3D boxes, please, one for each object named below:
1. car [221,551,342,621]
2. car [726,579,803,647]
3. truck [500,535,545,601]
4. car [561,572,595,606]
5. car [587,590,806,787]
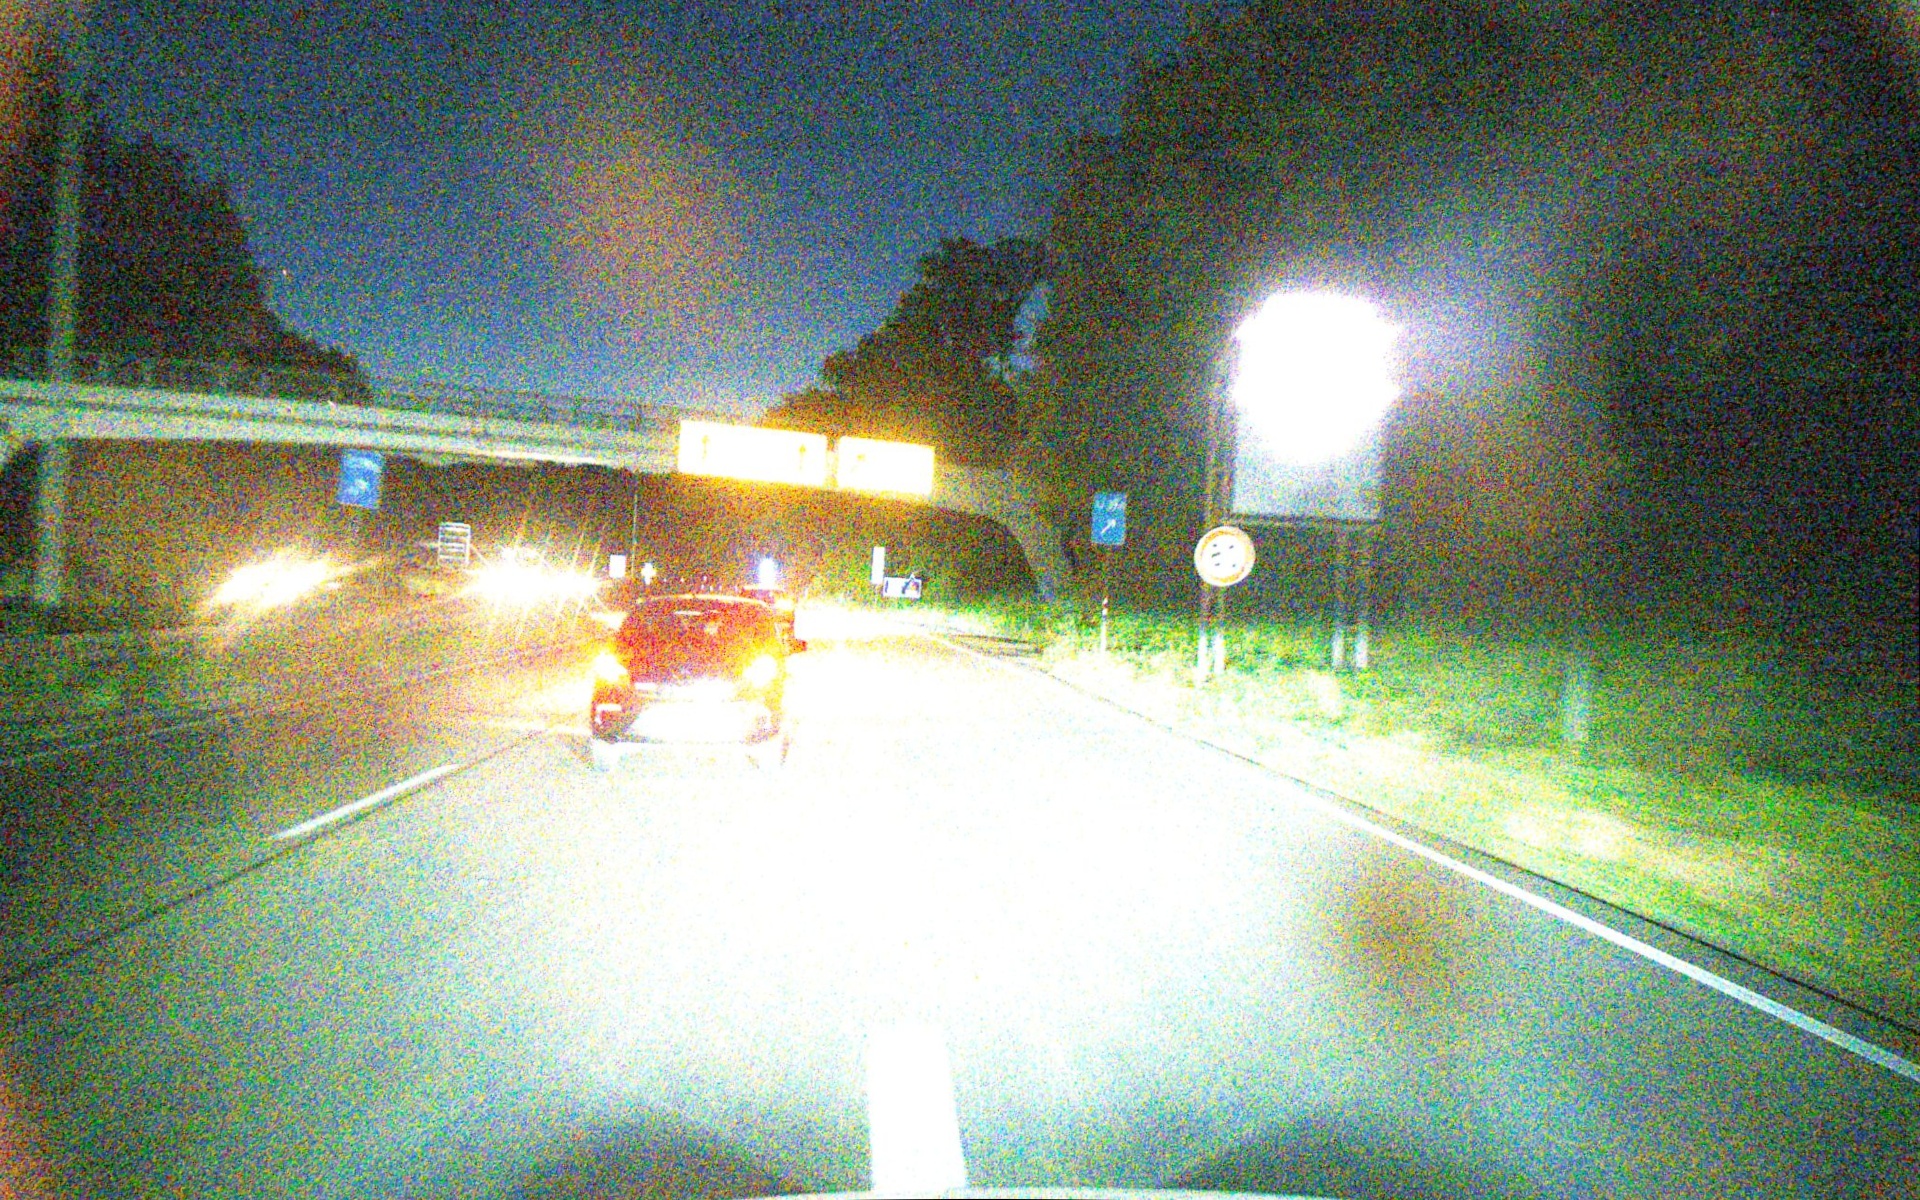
[{"bbox_3d":[-21.749,-0.430,53.259,2.318,2.049,5.023,3,0,-8],"label":"car"},{"bbox_3d":[-5.567,0.353,47.438,1.869,1.727,3.997,4,0,-4],"label":"car"},{"bbox_3d":[-31.460,-2.265,119.259,2.581,4.305,8.565,5,-1,-14],"label":"truck"},{"bbox_3d":[-28.255,-0.776,122.371,1.957,2.305,3.992,5,-1,-8],"label":"car"},{"bbox_3d":[-2.277,0.707,15.171,1.557,1.534,3.997,1,0,-3],"label":"car"}]
